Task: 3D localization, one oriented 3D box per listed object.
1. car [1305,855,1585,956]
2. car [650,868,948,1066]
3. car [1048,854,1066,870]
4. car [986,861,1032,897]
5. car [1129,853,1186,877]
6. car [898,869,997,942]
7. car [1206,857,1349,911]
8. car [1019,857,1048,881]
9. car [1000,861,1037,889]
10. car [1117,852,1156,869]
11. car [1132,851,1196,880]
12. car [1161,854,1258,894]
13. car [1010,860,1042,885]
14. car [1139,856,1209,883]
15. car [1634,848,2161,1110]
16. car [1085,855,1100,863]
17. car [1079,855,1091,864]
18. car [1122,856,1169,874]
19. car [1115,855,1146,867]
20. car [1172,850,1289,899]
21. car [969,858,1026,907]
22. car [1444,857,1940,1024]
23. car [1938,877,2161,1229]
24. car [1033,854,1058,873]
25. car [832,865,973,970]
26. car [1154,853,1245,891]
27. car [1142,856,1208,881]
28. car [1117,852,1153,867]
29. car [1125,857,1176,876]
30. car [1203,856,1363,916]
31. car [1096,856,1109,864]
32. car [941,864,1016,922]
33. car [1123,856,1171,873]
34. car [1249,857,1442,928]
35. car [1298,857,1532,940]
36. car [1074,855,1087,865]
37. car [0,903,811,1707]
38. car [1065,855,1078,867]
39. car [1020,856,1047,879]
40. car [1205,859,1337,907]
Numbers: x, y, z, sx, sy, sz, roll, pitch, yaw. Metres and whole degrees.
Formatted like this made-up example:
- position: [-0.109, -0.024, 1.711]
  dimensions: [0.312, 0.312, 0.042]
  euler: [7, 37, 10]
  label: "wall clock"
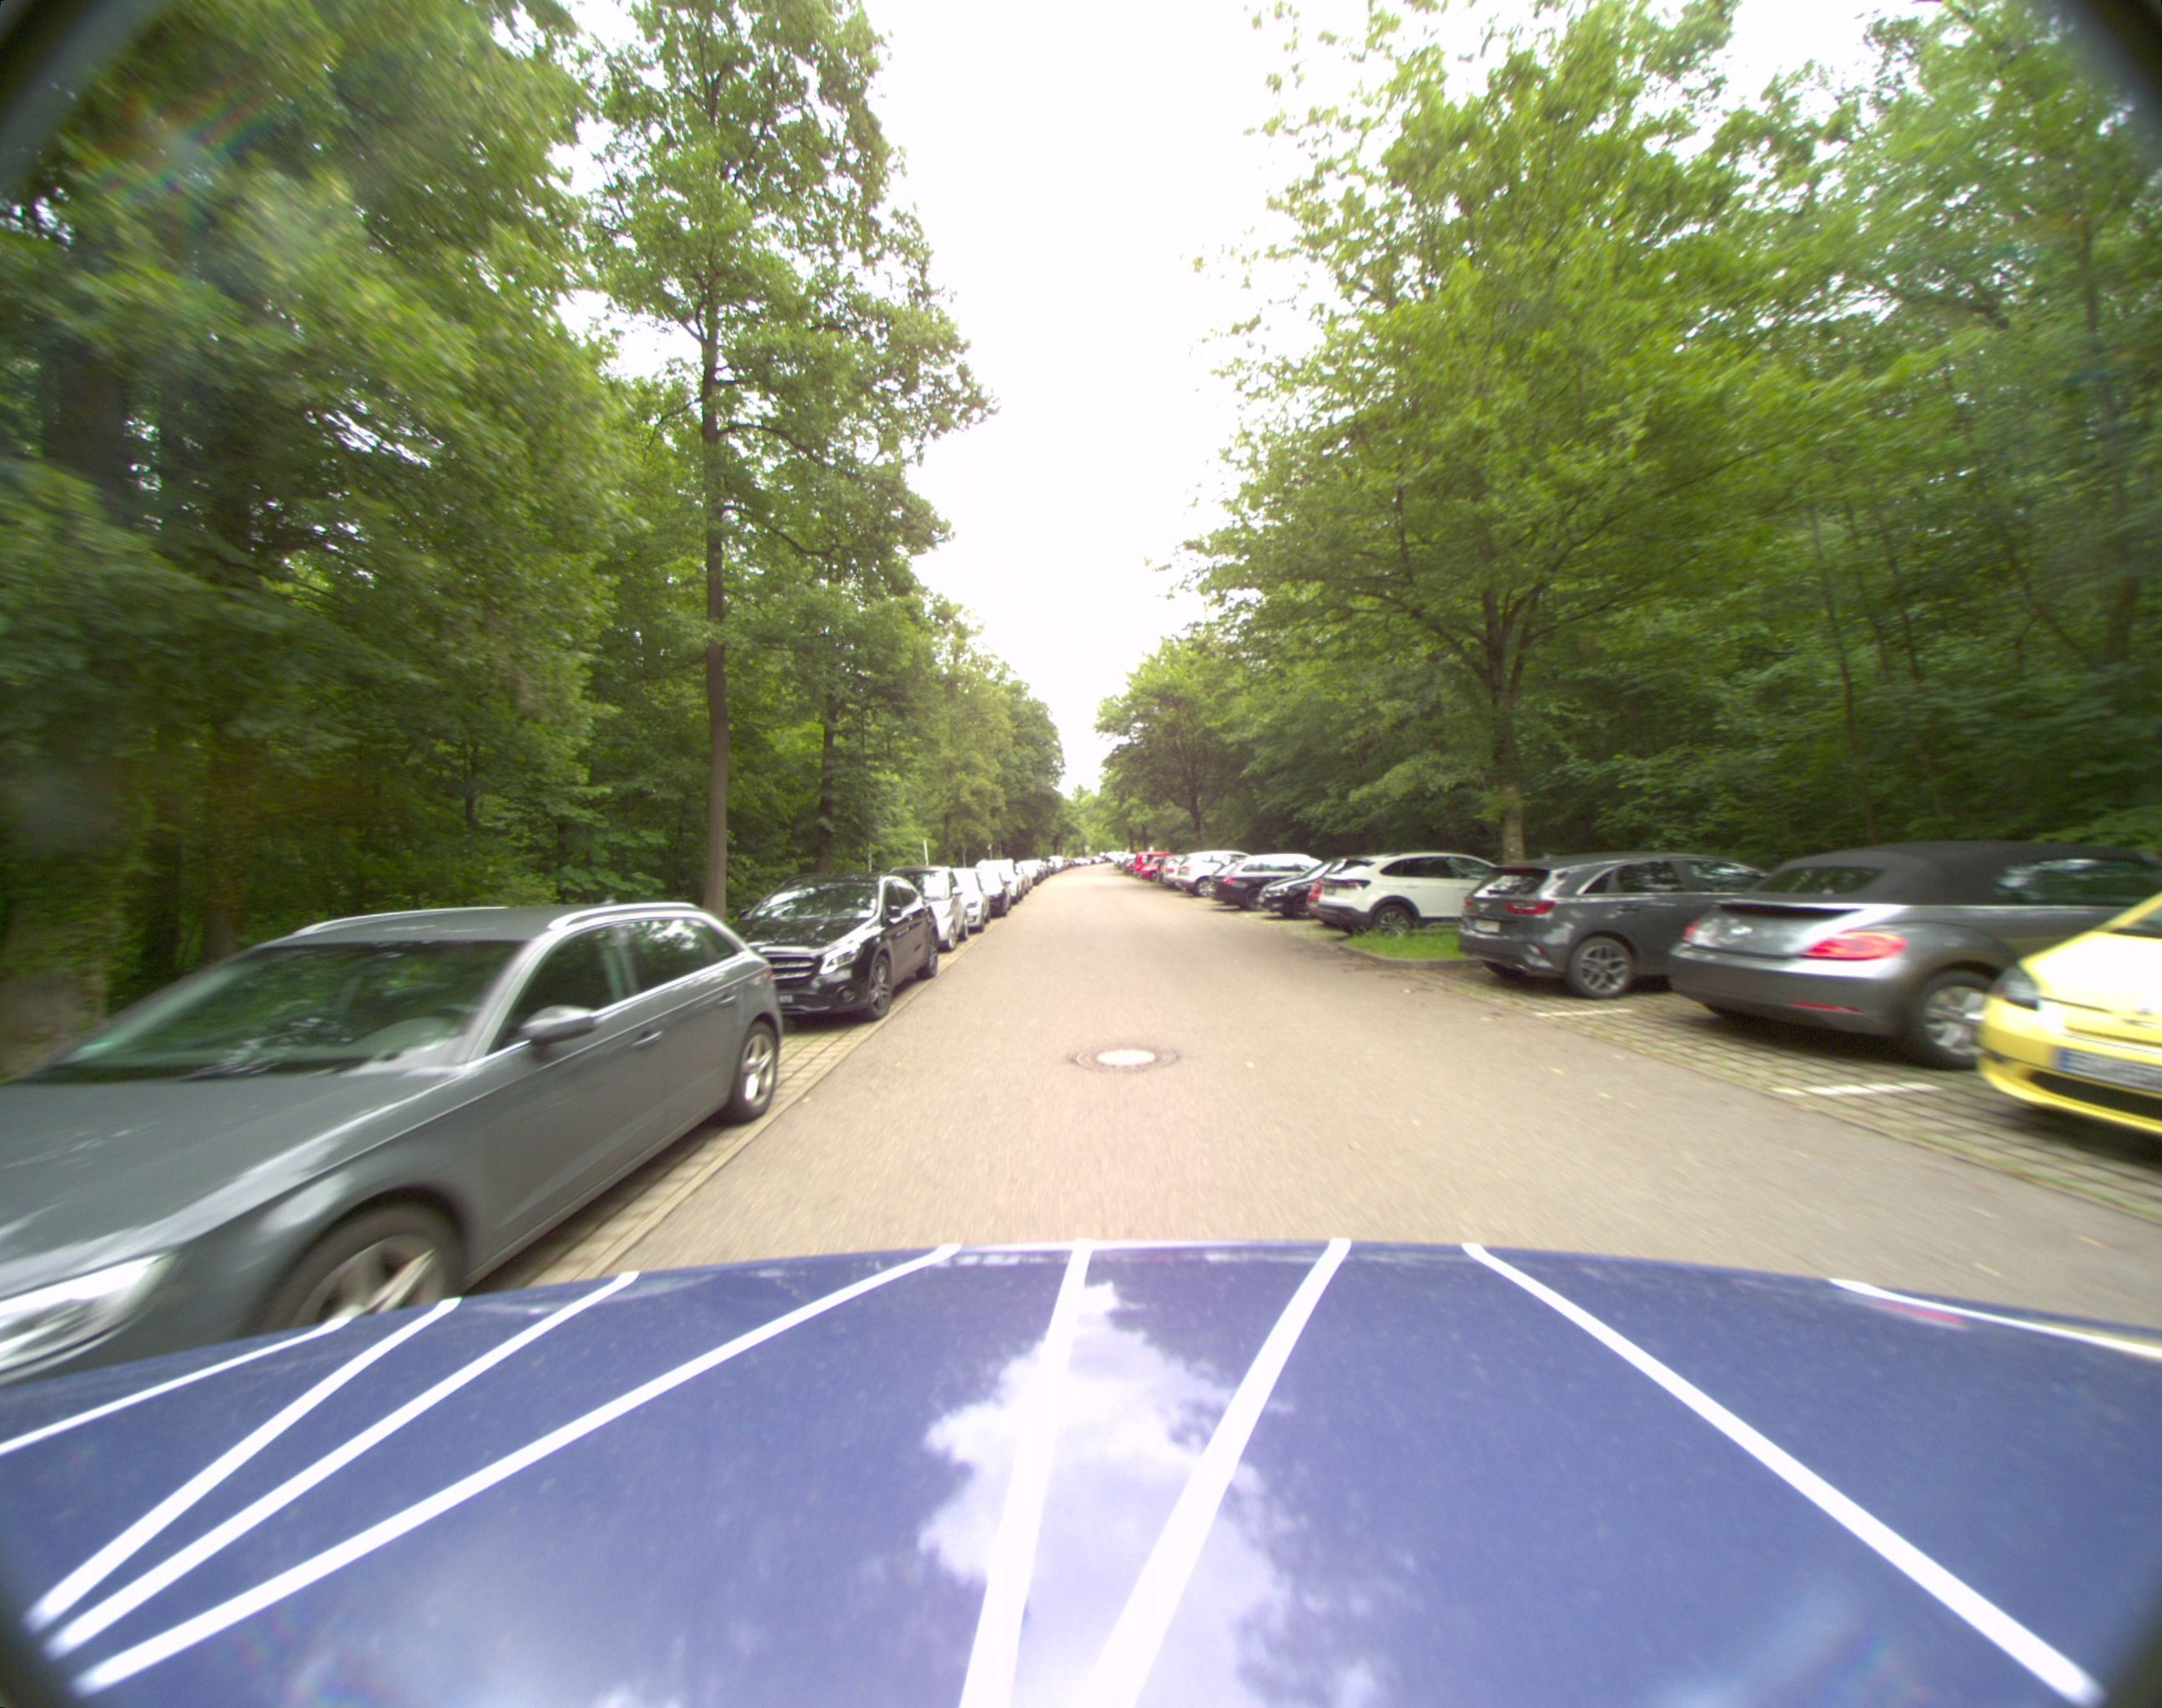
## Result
- position: [6.190, 0.844, 13.234]
  dimensions: [3.997, 1.458, 1.715]
  euler: [-3, 0, -1]
  label: "car"
- position: [-2.834, 1.023, 8.797]
  dimensions: [1.740, 1.579, 4.382]
  euler: [-2, 0, 0]
  label: "car"
- position: [-2.616, 0.888, 84.906]
  dimensions: [1.580, 1.610, 3.963]
  euler: [-2, 0, 3]
  label: "car"
- position: [-3.270, 1.110, 35.242]
  dimensions: [1.741, 1.471, 4.768]
  euler: [-2, 0, -2]
  label: "car"
- position: [5.558, 0.821, 55.894]
  dimensions: [3.996, 1.587, 1.742]
  euler: [-3, 0, 2]
  label: "car"
- position: [-3.080, 1.138, 18.304]
  dimensions: [1.741, 1.416, 4.153]
  euler: [-2, 0, -2]
  label: "car"
- position: [6.039, 0.898, 23.621]
  dimensions: [3.996, 1.427, 1.648]
  euler: [-2, 2, 1]
  label: "car"
- position: [-3.294, 1.009, 53.121]
  dimensions: [1.843, 1.551, 4.423]
  euler: [-2, 0, -2]
  label: "car"
- position: [-3.369, 1.112, 41.641]
  dimensions: [1.741, 1.398, 4.427]
  euler: [-2, 0, -2]
  label: "car"
- position: [6.047, 0.710, 83.573]
  dimensions: [3.998, 1.717, 1.713]
  euler: [-3, 0, -4]
  label: "car"
- position: [5.542, 0.775, 50.983]
  dimensions: [3.997, 1.804, 1.818]
  euler: [-2, 0, -1]
  label: "car"
- position: [5.630, 0.859, 33.610]
  dimensions: [3.997, 1.652, 1.814]
  euler: [-1, 0, 0]
  label: "car"
- position: [-3.424, 1.116, 47.749]
  dimensions: [1.741, 1.426, 4.744]
  euler: [-2, 0, -2]
  label: "car"
- position: [5.591, 0.931, 46.041]
  dimensions: [3.997, 1.507, 1.771]
  euler: [-2, 0, 0]
  label: "car"
- position: [6.715, 0.766, 5.578]
  dimensions: [3.997, 1.430, 1.733]
  euler: [-3, 0, 0]
  label: "car"
- position: [2.123, 0.965, 138.759]
  dimensions: [1.771, 1.308, 3.893]
  euler: [-2, 1, 13]
  label: "car"
- position: [0.721, 0.914, 128.738]
  dimensions: [1.501, 1.331, 3.435]
  euler: [-2, 0, 9]
  label: "car"
- position: [5.975, 0.979, 71.069]
  dimensions: [4.222, 1.528, 1.818]
  euler: [-2, 0, 0]
  label: "car"
- position: [6.704, 0.936, 103.557]
  dimensions: [3.998, 1.469, 1.713]
  euler: [-3, 0, -3]
  label: "car"
- position: [5.599, 0.750, 28.768]
  dimensions: [3.998, 1.652, 1.814]
  euler: [-2, 0, -2]
  label: "car"
- position: [-3.107, 1.008, 29.109]
  dimensions: [1.741, 1.634, 5.071]
  euler: [-2, 0, -2]
  label: "car"
- position: [6.405, 0.850, 8.304]
  dimensions: [3.997, 1.430, 1.715]
  euler: [-3, 0, 0]
  label: "car"
- position: [6.598, 0.790, 3.255]
  dimensions: [3.997, 1.430, 1.618]
  euler: [-3, 0, 0]
  label: "car"
- position: [-3.505, 0.892, 74.841]
  dimensions: [1.909, 1.713, 4.486]
  euler: [-2, 0, 3]
  label: "car"
- position: [-3.136, 1.044, 14.170]
  dimensions: [1.741, 1.559, 4.007]
  euler: [-2, 0, -2]
  label: "car"
- position: [5.599, 0.836, 36.078]
  dimensions: [3.998, 1.652, 1.696]
  euler: [-1, 0, -2]
  label: "car"
- position: [6.002, 0.928, 49.005]
  dimensions: [3.997, 1.507, 1.818]
  euler: [-2, 0, 0]
  label: "car"
- position: [6.464, 0.704, 91.209]
  dimensions: [3.998, 1.699, 1.713]
  euler: [-1, 0, -4]
  label: "car"
- position: [5.545, 0.996, 61.165]
  dimensions: [3.996, 1.413, 1.742]
  euler: [-2, 0, 2]
  label: "car"
- position: [5.561, 0.856, 21.253]
  dimensions: [3.997, 1.427, 1.677]
  euler: [-3, 0, 1]
  label: "car"
- position: [4.218, 1.203, 148.358]
  dimensions: [1.771, 1.308, 3.893]
  euler: [-2, 1, 13]
  label: "car"
- position: [-2.996, 1.108, 23.102]
  dimensions: [1.741, 1.465, 4.604]
  euler: [-2, 0, -2]
  label: "car"
- position: [5.912, 0.935, 68.512]
  dimensions: [4.220, 1.447, 1.818]
  euler: [-2, 0, 3]
  label: "car"
- position: [6.215, 0.888, 18.183]
  dimensions: [3.997, 1.427, 1.677]
  euler: [-3, 0, 1]
  label: "car"
- position: [6.716, 0.875, 15.594]
  dimensions: [3.997, 1.427, 1.702]
  euler: [-3, 0, 1]
  label: "car"
- position: [-0.083, 0.994, 123.670]
  dimensions: [1.501, 1.470, 3.668]
  euler: [-2, 0, 9]
  label: "car"
- position: [-2.905, 1.107, 3.366]
  dimensions: [1.740, 1.423, 4.501]
  euler: [-2, 0, 0]
  label: "car"
- position: [-1.268, 0.950, 105.993]
  dimensions: [1.502, 1.470, 3.666]
  euler: [-3, 0, 2]
  label: "car"
- position: [-3.590, 1.015, 58.347]
  dimensions: [1.907, 1.577, 4.480]
  euler: [-2, 0, -2]
  label: "car"
- position: [6.420, 0.958, 25.945]
  dimensions: [3.998, 1.412, 1.814]
  euler: [-3, 0, -2]
  label: "car"
